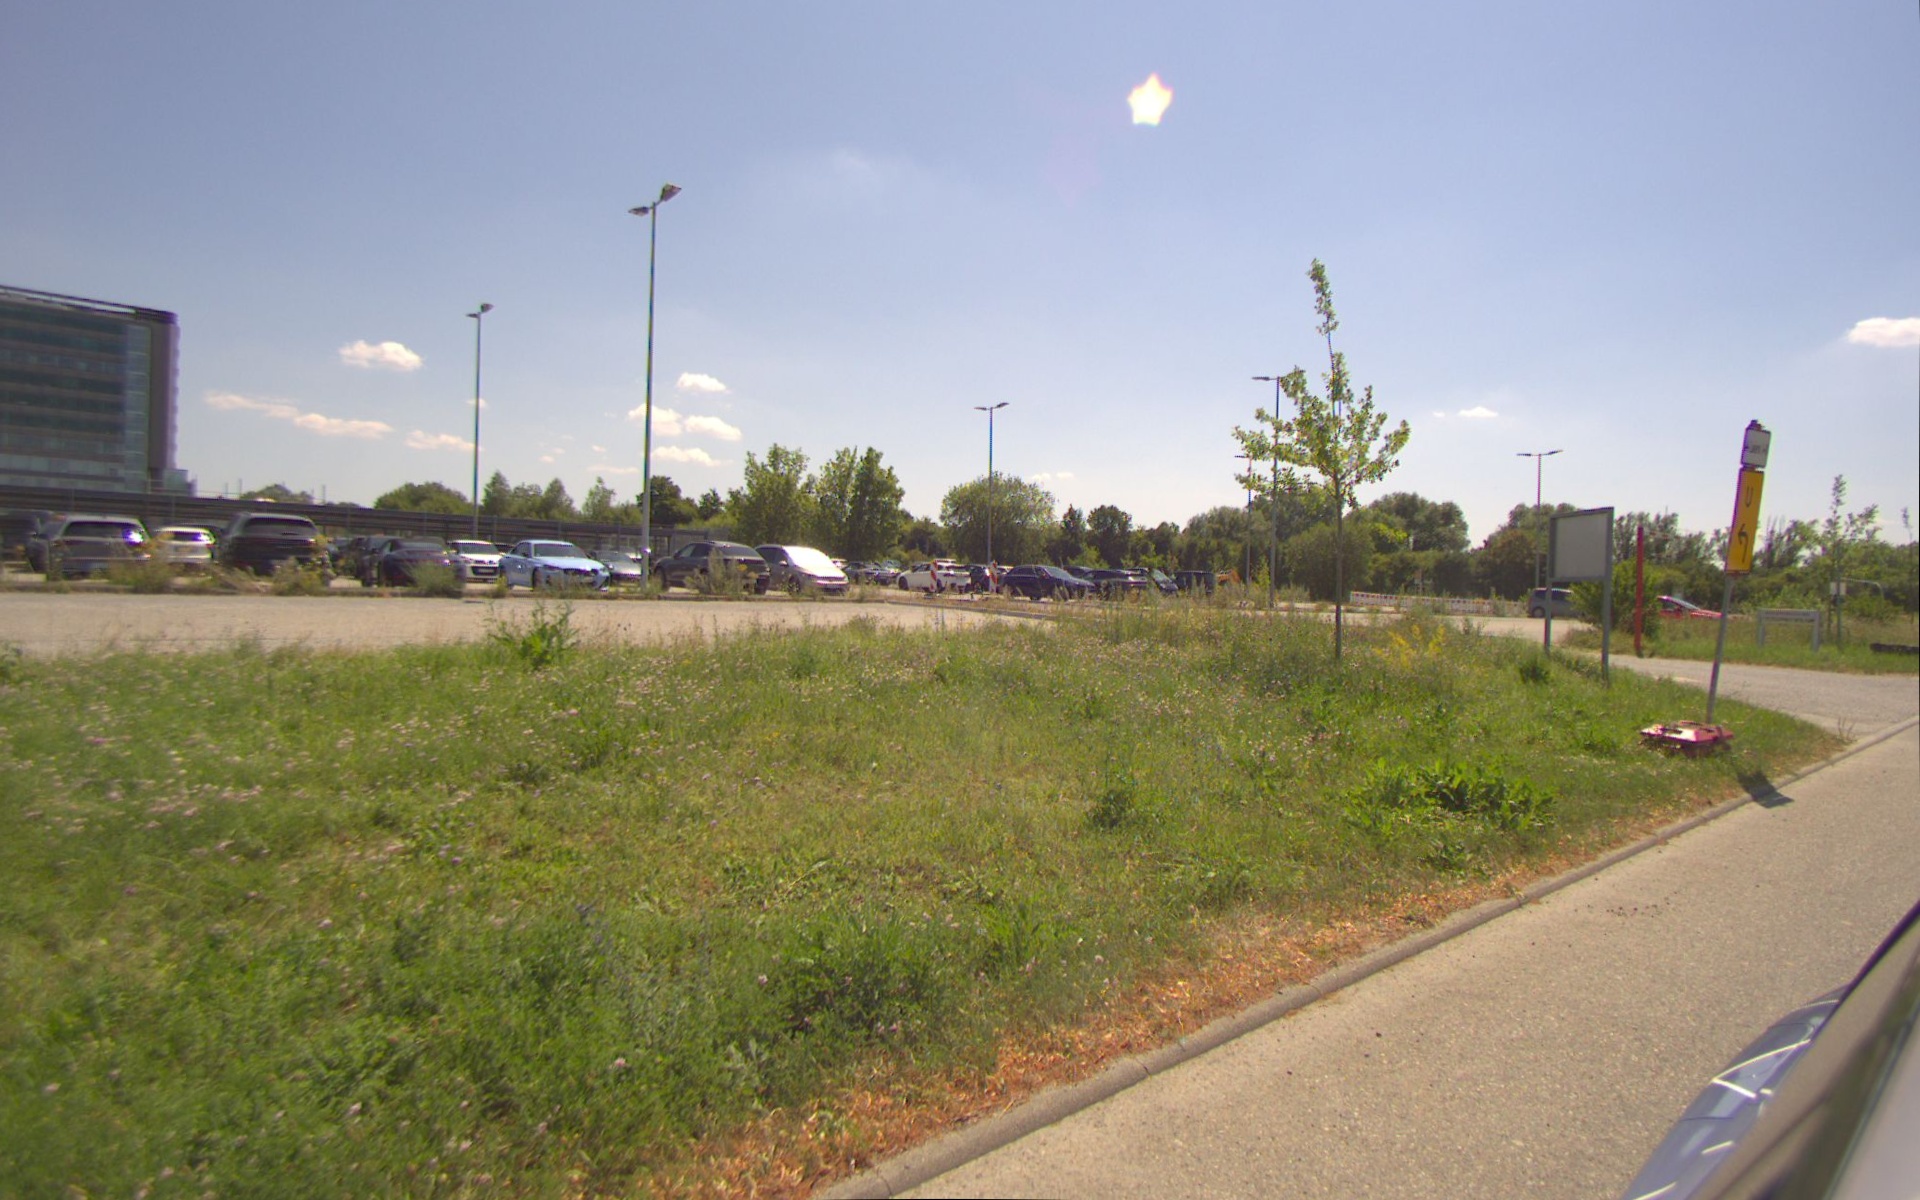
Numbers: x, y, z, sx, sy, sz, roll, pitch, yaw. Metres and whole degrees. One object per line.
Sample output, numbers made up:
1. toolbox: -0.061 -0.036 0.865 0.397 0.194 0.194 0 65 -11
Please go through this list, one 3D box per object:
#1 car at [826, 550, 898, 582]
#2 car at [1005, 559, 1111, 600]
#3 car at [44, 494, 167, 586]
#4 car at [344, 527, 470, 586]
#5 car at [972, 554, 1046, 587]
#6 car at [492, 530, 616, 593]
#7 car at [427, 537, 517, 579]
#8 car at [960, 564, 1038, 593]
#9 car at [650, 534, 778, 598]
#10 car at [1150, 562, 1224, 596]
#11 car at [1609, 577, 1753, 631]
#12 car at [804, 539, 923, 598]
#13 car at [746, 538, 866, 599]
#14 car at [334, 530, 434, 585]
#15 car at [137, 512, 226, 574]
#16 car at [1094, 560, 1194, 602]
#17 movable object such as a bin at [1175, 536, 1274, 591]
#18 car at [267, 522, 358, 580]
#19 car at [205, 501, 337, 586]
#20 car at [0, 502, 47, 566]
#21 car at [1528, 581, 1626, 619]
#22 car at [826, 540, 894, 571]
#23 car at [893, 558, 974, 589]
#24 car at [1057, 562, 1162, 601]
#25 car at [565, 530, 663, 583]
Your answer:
1. car: -5.215 -1.815 53.559 1.668 1.537 3.992 0 3 -43
2. car: 3.813 -0.823 39.903 1.892 1.412 3.997 1 2 -39
3. car: -18.007 -1.281 21.277 1.738 1.615 3.994 5 0 -42
4. car: -13.504 -1.086 24.623 1.738 1.122 3.994 5 0 -42
5. car: 2.946 -1.780 61.085 3.983 1.660 1.971 5 0 39
6. car: -10.989 -1.066 27.232 1.738 1.410 3.994 5 0 -42
7. car: -17.362 -1.511 35.943 1.702 1.207 3.993 5 0 -43
8. car: 2.007 -1.125 52.723 1.668 1.357 3.992 0 3 -43
9. car: -7.446 -1.053 30.357 1.738 1.615 4.374 5 0 -42
10. car: 13.676 -1.291 61.089 1.727 1.779 3.995 3 2 -42
11. car: 26.917 0.112 37.884 1.892 1.745 3.997 1 2 -39
12. car: -3.192 -1.044 32.954 1.738 1.615 3.994 5 0 -42
13. car: -4.916 -1.016 31.974 1.738 1.615 3.994 5 0 -42
14. car: -19.371 -1.448 33.956 1.966 1.504 3.993 5 0 -43
15. car: -23.792 -1.758 30.888 1.738 1.615 3.994 5 0 -42
16. car: 7.982 -0.849 44.123 1.892 1.661 3.997 1 2 -39
17. movable object such as a bin: 23.280 -3.197 89.187 7.995 4.095 2.972 5 0 16
18. car: -20.923 -1.607 32.623 1.738 1.615 3.994 5 0 -42
19. car: -15.578 -1.298 22.791 1.829 1.615 3.994 5 0 -42
20. car: -26.395 -1.890 27.876 1.738 1.615 3.994 5 0 -42
21. car: 36.117 -0.020 59.313 1.905 1.938 4.473 3 2 -40
22. car: -6.445 -2.851 64.943 3.983 1.660 1.971 5 0 39
23. car: -1.326 -1.314 49.184 1.668 1.357 3.992 0 3 -43
24. car: 6.072 -0.772 41.334 1.892 1.412 3.997 1 2 -39
25. car: -13.286 -1.693 38.759 1.966 1.704 3.993 5 0 -43
